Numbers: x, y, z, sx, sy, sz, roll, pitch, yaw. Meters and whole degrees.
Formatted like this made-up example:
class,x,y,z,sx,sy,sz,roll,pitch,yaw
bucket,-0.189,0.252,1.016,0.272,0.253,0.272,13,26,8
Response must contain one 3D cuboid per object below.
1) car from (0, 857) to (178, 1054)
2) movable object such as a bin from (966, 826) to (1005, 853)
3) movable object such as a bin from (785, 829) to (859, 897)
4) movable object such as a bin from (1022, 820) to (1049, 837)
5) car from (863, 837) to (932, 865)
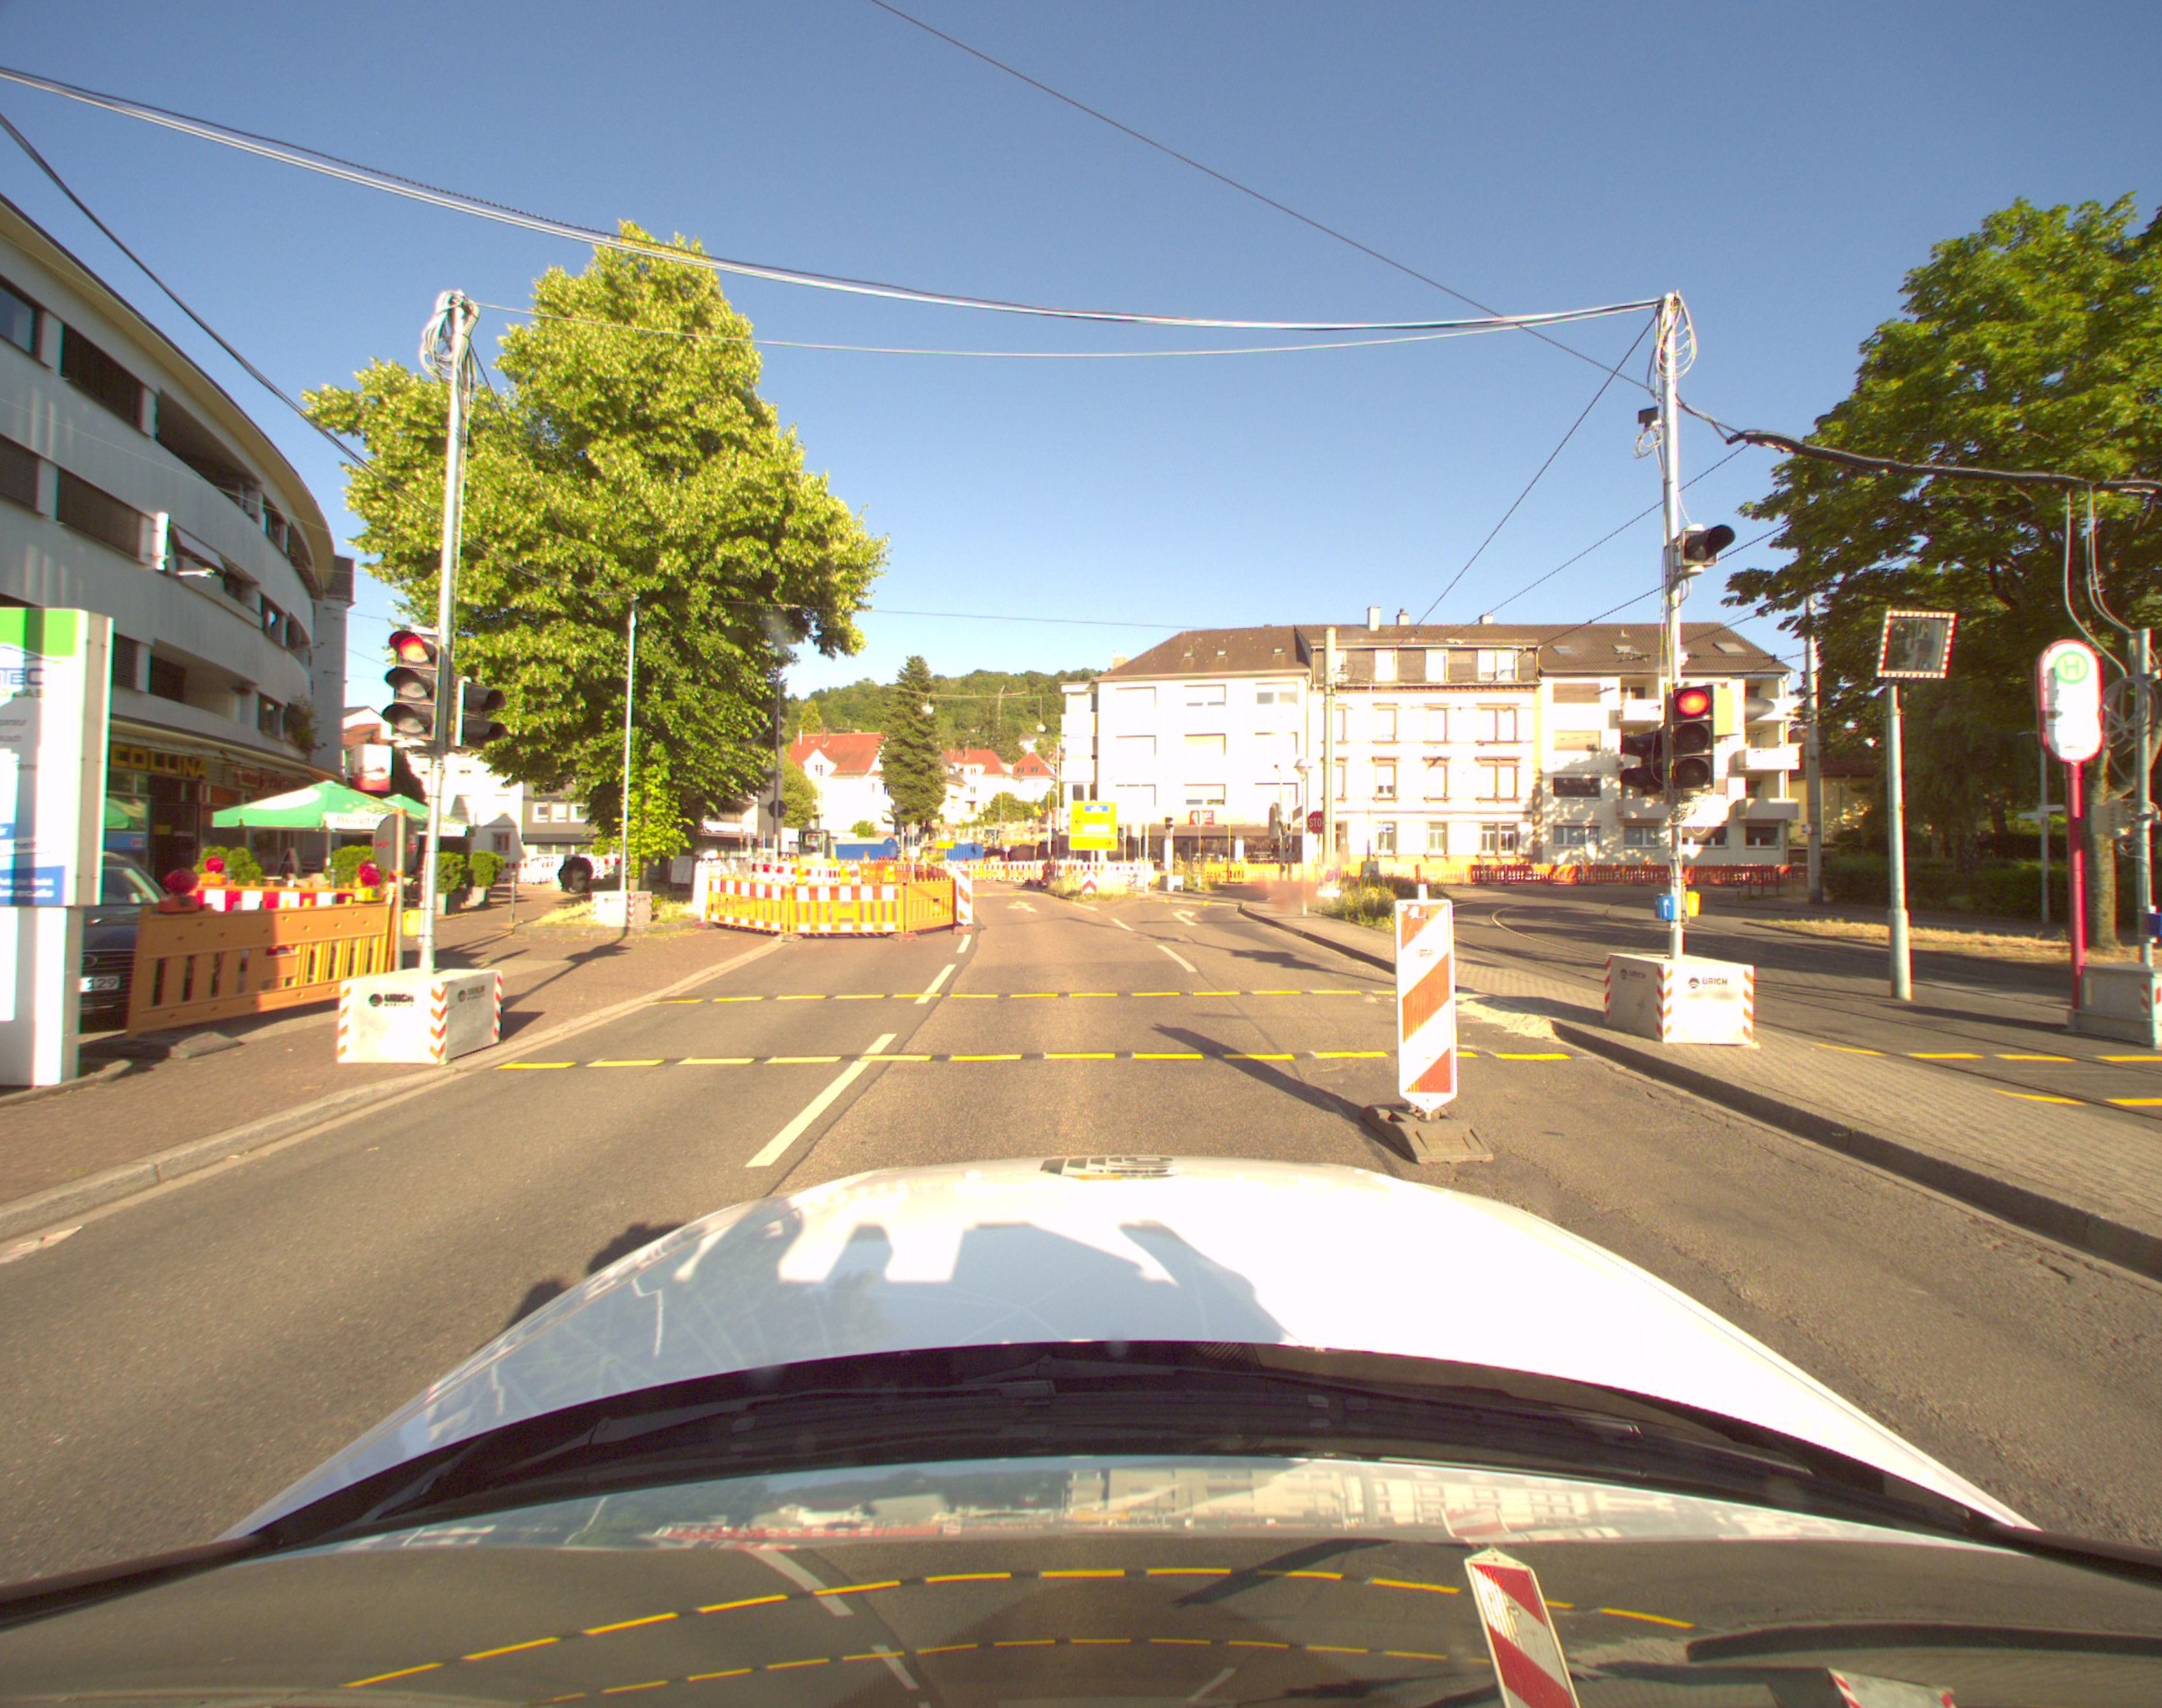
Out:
class,x,y,z,sx,sy,sz,roll,pitch,yaw
car,-9.326,0.775,7.308,3.835,1.438,1.606,-1,0,42
movable object such as a bin,-9.245,-1.346,79.392,1.932,2.494,4.574,-1,-1,20
movable object such as a bin,-9.417,0.298,29.873,1.643,2.324,3.916,0,0,-3
movable object such as a bin,-6.421,-3.588,115.293,2.549,2.122,5.801,-1,-1,11
car,-14.915,-0.228,66.695,2.562,2.121,6.181,-1,-1,20
